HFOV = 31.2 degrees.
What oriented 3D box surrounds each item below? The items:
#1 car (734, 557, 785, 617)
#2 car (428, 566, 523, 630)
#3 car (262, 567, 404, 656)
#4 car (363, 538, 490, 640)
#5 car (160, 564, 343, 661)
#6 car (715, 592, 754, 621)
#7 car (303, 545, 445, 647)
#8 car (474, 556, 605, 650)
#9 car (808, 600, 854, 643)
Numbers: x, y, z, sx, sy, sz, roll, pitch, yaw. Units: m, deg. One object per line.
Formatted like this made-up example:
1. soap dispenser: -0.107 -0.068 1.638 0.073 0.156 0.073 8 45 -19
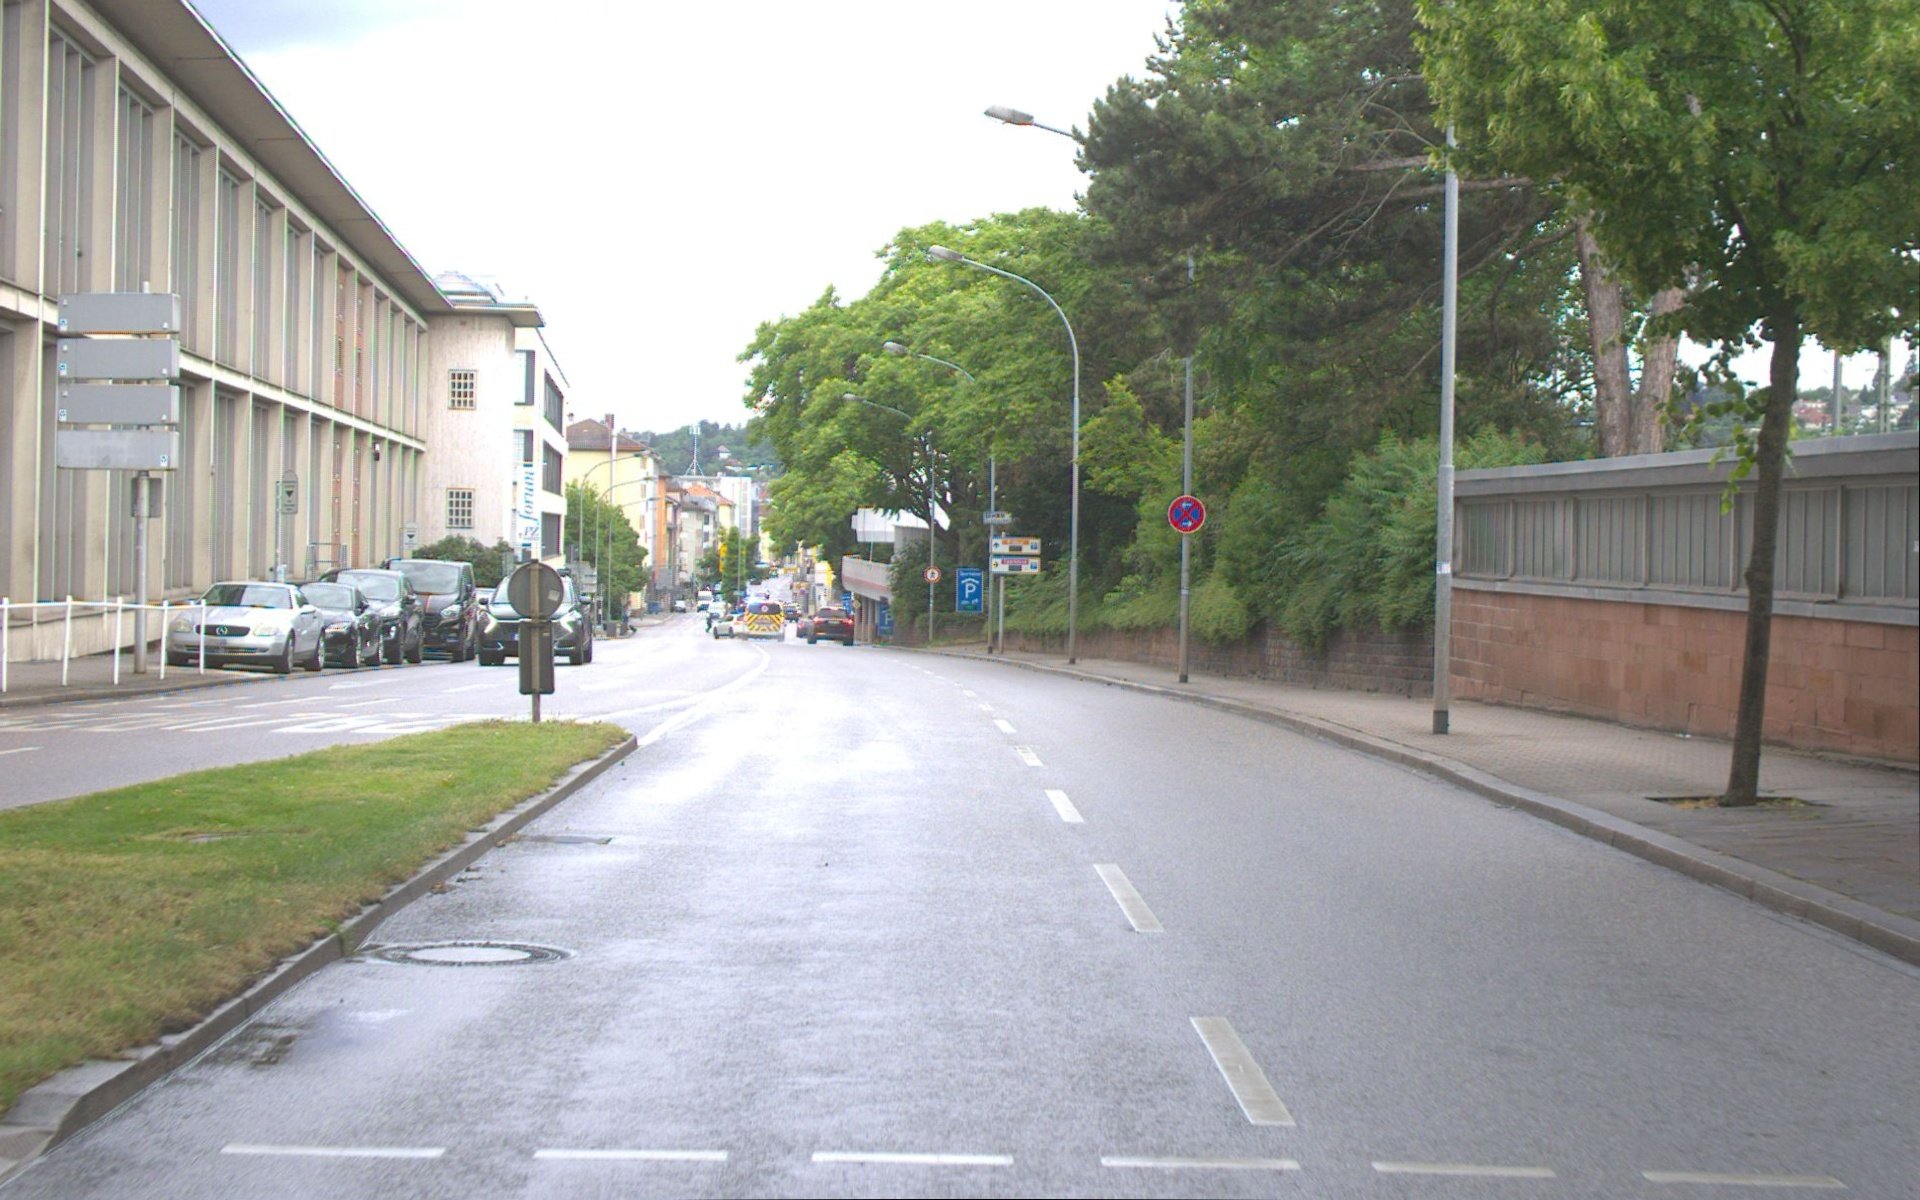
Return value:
1. car: -9.231 -0.616 158.372 2.264 2.647 4.001 -1 1 -3
2. car: -11.854 -0.064 84.318 1.815 1.479 4.910 1 0 -3
3. car: -10.064 0.163 55.410 1.542 1.349 4.110 1 0 -1
4. car: -10.668 -0.233 69.079 1.948 1.937 4.996 1 0 -3
5. car: -10.180 0.153 49.628 1.691 1.293 4.093 2 0 1
6. car: -13.557 0.395 206.795 1.993 1.674 4.001 0 1 -9
7. car: -10.258 -0.083 60.500 1.797 1.670 4.604 1 0 -2
8. car: -7.671 0.026 63.058 1.821 1.655 4.337 0 1 1
9. car: -6.106 1.002 162.114 2.091 1.904 4.100 0 1 -3
